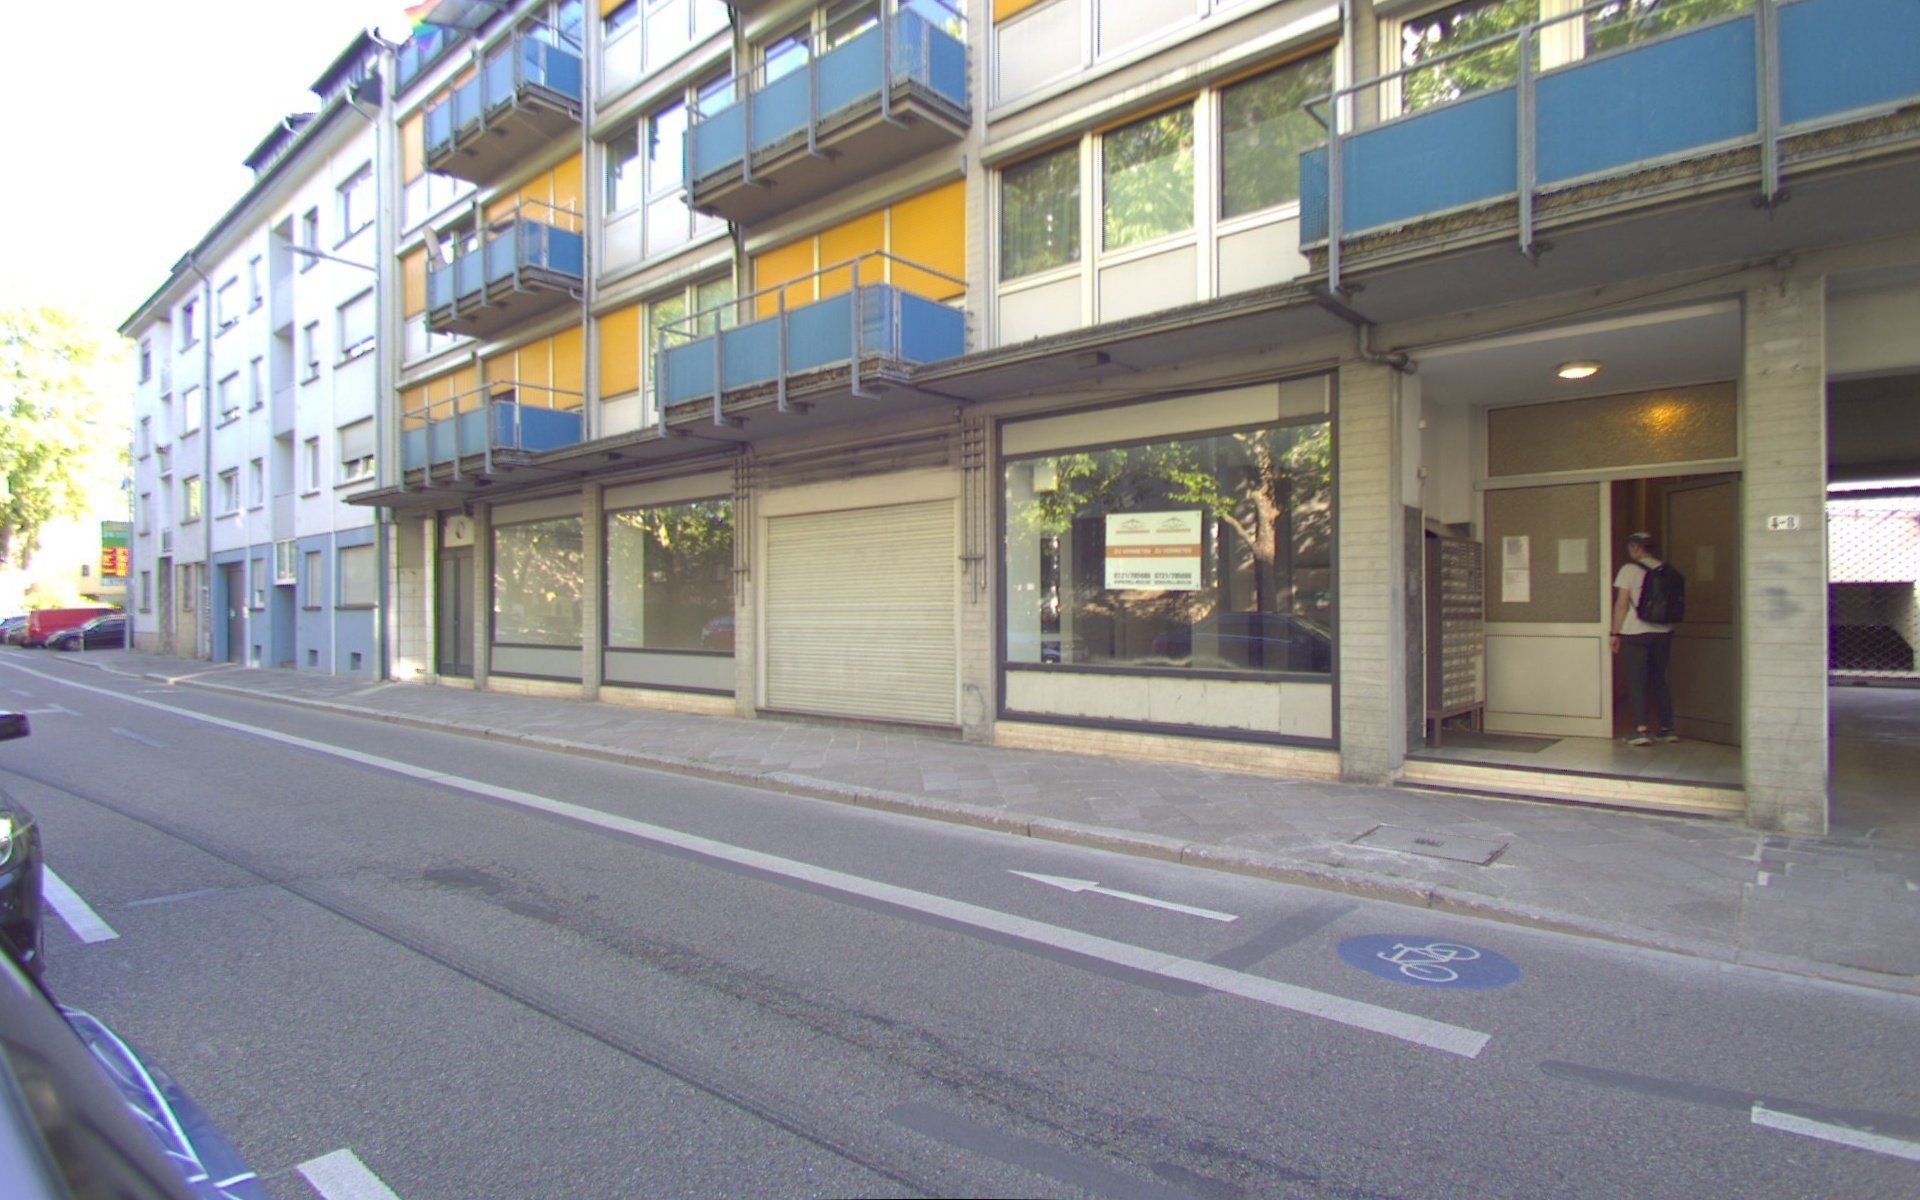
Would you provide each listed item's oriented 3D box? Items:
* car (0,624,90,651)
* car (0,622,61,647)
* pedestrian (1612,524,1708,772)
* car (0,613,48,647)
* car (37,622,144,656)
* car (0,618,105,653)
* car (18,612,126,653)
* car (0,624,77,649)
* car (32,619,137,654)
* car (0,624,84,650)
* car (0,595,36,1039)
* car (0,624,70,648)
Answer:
[{"bbox_3d":[-51.853,2.100,57.225,1.594,1.385,3.854,-1,0,42],"label":"car"},{"bbox_3d":[-59.219,2.192,63.762,1.539,1.451,3.733,-1,0,42],"label":"car"},{"bbox_3d":[5.852,0.382,8.462,0.585,1.973,0.603,-1,0,40],"label":"pedestrian"},{"bbox_3d":[-62.718,1.971,66.592,1.725,2.193,3.854,-1,0,42],"label":"car"},{"bbox_3d":[-39.799,1.750,46.356,1.534,1.420,3.551,-2,-1,42],"label":"car"},{"bbox_3d":[-46.057,1.784,51.408,1.603,1.598,3.854,-1,0,42],"label":"car"},{"bbox_3d":[-43.710,1.569,49.869,1.749,1.921,3.854,-1,-1,42],"label":"car"},{"bbox_3d":[-55.383,2.180,60.443,1.525,1.343,3.854,-1,0,42],"label":"car"},{"bbox_3d":[-41.517,1.704,48.052,1.602,1.521,3.620,-1,0,42],"label":"car"},{"bbox_3d":[-53.367,2.119,58.564,1.594,1.385,3.854,-1,0,42],"label":"car"},{"bbox_3d":[-5.433,0.769,4.215,4.291,1.515,1.805,-1,0,40],"label":"car"},{"bbox_3d":[-57.190,2.204,62.004,1.525,1.343,3.854,-1,0,42],"label":"car"}]
